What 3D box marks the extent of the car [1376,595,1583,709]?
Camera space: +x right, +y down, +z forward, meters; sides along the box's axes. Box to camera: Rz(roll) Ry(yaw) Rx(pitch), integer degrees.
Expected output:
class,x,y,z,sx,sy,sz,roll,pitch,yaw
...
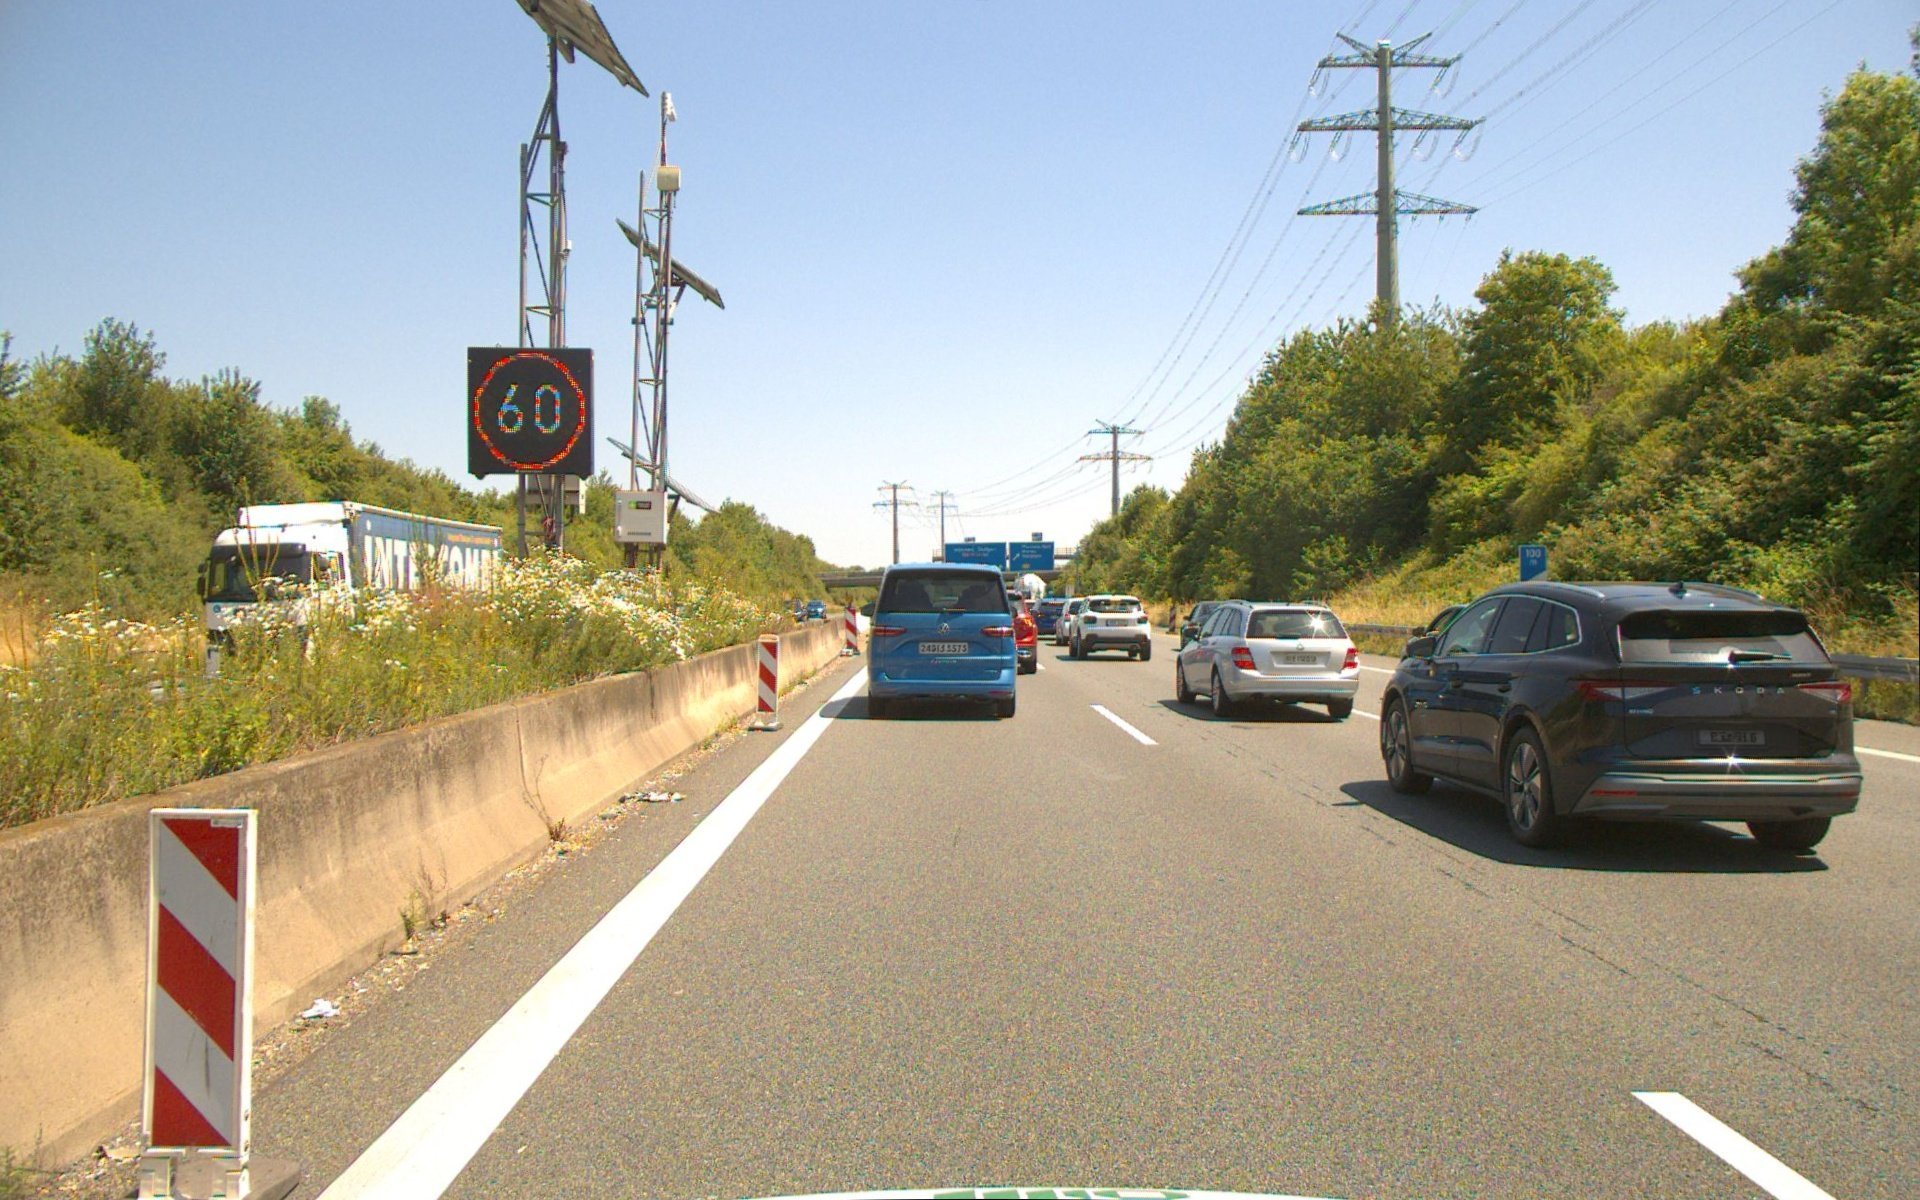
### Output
class,x,y,z,sx,sy,sz,roll,pitch,yaw
car,7.506,0.692,24.292,1.705,1.496,4.013,1,0,-1

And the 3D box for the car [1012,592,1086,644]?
class,x,y,z,sx,sy,sz,roll,pitch,yaw
car,2.795,0.538,52.839,1.870,1.542,4.381,1,0,-3

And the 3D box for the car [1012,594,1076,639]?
class,x,y,z,sx,sy,sz,roll,pitch,yaw
car,3.000,0.579,59.985,1.870,1.542,4.381,1,0,-3

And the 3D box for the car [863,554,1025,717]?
class,x,y,z,sx,sy,sz,roll,pitch,yaw
car,-0.317,0.421,21.955,1.834,1.912,4.379,1,0,-5

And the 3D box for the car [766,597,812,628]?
class,x,y,z,sx,sy,sz,roll,pitch,yaw
car,-9.005,0.655,87.465,1.953,1.573,4.911,-1,0,-1

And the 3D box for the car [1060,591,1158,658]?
class,x,y,z,sx,sy,sz,roll,pitch,yaw
car,3.632,0.577,40.892,1.870,1.534,3.919,1,0,-3

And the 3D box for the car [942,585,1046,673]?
class,x,y,z,sx,sy,sz,roll,pitch,yaw
car,0.626,0.538,33.617,1.870,1.659,4.382,0,0,-2

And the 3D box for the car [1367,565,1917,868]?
class,x,y,z,sx,sy,sz,roll,pitch,yaw
car,4.279,0.637,11.251,1.791,1.643,4.429,1,0,-2

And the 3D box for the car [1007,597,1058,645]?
class,x,y,z,sx,sy,sz,roll,pitch,yaw
car,3.181,0.898,73.443,1.953,2.049,3.999,1,0,-1

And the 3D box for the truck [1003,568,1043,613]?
class,x,y,z,sx,sy,sz,roll,pitch,yaw
truck,6.055,-0.927,160.949,2.591,4.143,16.434,1,0,-2

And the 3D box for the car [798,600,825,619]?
class,x,y,z,sx,sy,sz,roll,pitch,yaw
car,-12.822,0.773,142.856,1.953,1.573,4.911,-1,0,-1

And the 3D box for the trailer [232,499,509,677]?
class,x,y,z,sx,sy,sz,roll,pitch,yaw
trailer,-15.844,-0.303,46.077,2.901,4.127,13.593,-2,0,-1

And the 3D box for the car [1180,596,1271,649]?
class,x,y,z,sx,sy,sz,roll,pitch,yaw
car,7.530,0.607,47.341,1.700,1.402,4.300,1,0,-3

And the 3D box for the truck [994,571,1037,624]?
class,x,y,z,sx,sy,sz,roll,pitch,yaw
truck,3.004,-0.146,90.968,1.953,2.771,5.678,1,0,-2

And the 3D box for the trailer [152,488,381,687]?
class,x,y,z,sx,sy,sz,roll,pitch,yaw
trailer,-15.734,-0.274,37.972,2.901,4.127,5.432,-2,0,-1

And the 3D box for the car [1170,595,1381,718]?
class,x,y,z,sx,sy,sz,roll,pitch,yaw
car,4.094,0.679,22.166,1.784,1.462,4.381,1,0,-3
